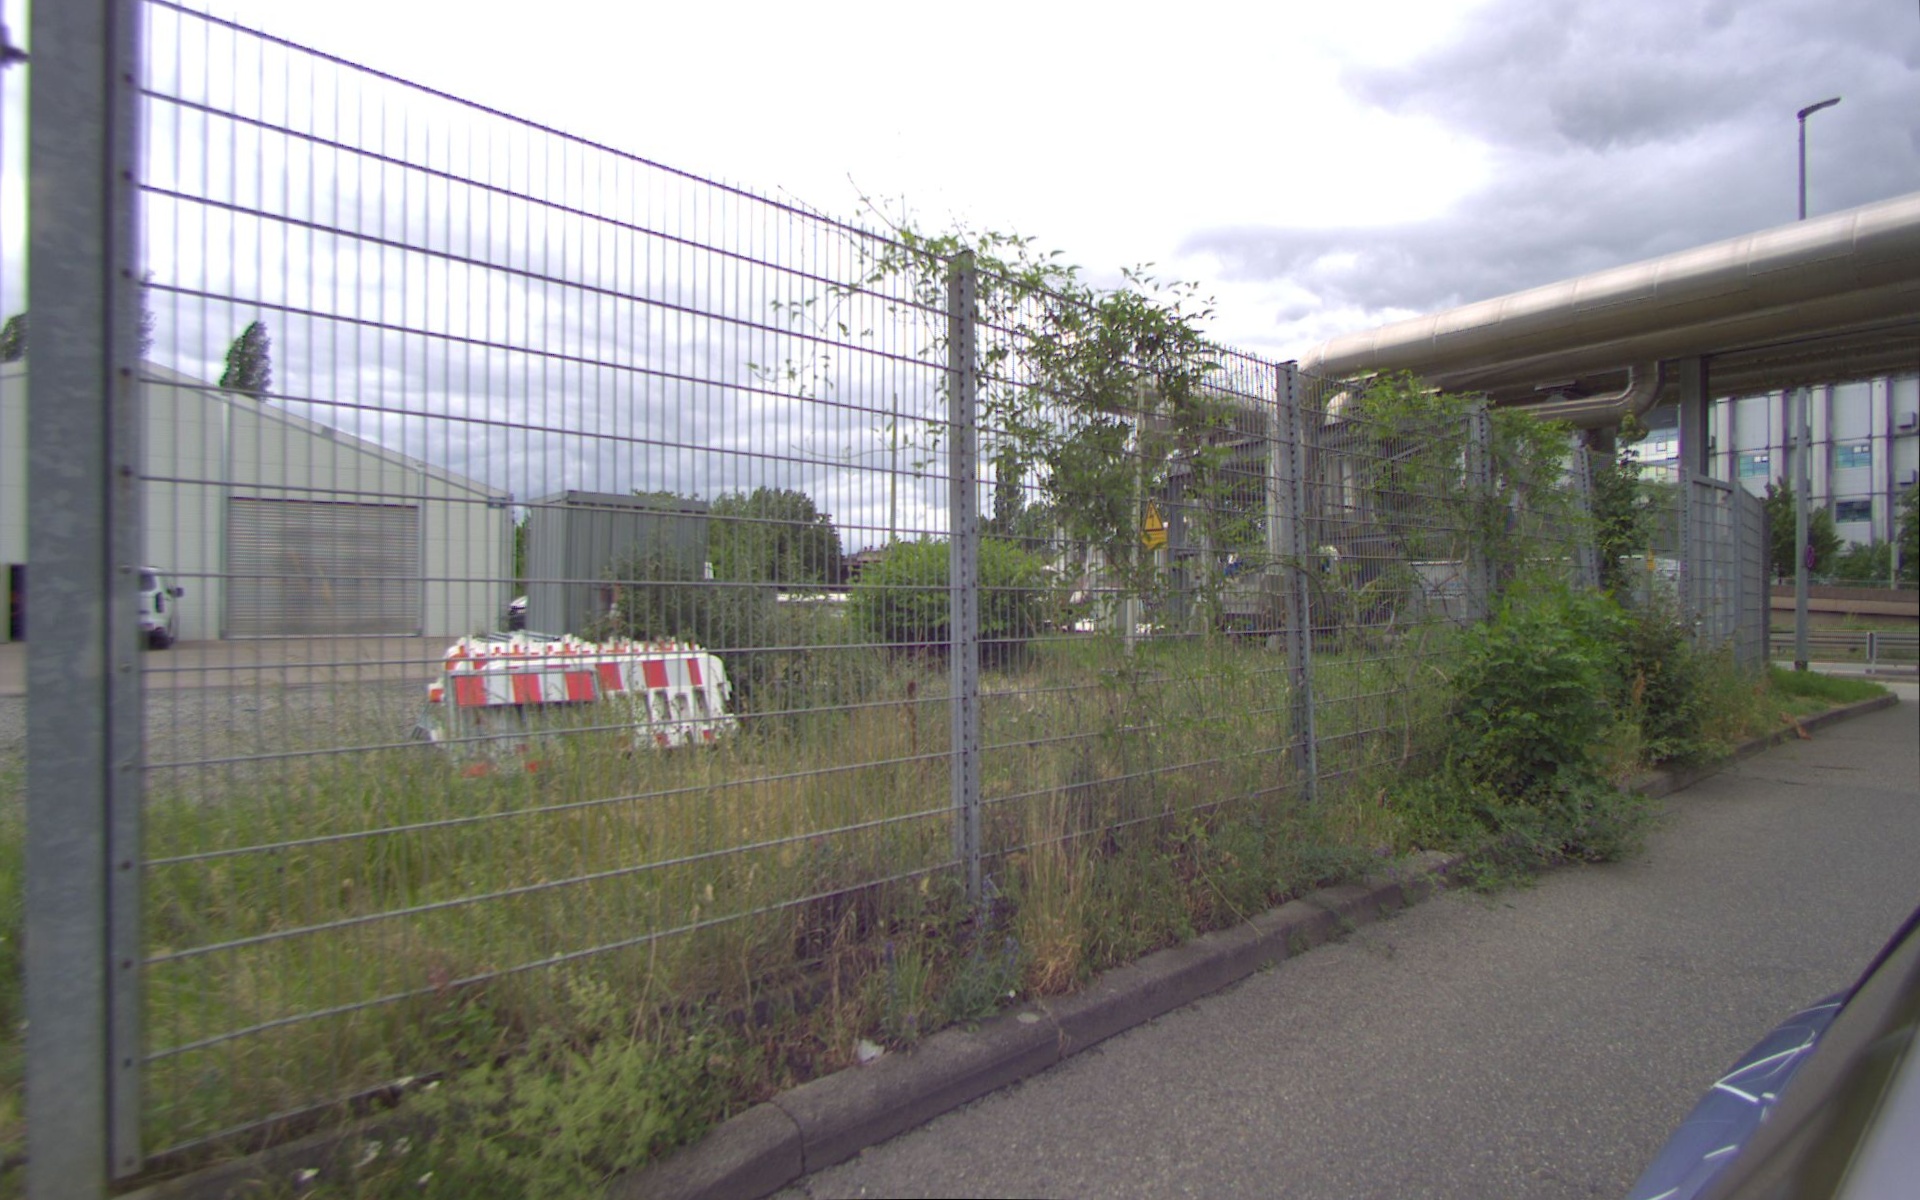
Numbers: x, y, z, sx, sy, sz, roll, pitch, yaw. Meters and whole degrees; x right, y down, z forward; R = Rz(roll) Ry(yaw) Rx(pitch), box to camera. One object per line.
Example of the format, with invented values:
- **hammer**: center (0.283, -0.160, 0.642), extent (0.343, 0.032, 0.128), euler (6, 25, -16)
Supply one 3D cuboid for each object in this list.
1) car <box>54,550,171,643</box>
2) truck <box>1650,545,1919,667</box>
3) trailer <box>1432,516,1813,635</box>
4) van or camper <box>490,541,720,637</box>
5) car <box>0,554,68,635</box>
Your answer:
- **car**: center (-20.403, -0.093, 24.530), extent (1.963, 2.039, 4.337), euler (0, 0, -38)
- **truck**: center (31.578, 0.156, 38.664), extent (3.113, 4.182, 8.121), euler (-3, 2, -43)
- **trailer**: center (27.476, -0.936, 43.066), extent (3.113, 4.378, 13.235), euler (-2, 1, -42)
- **van or camper**: center (-10.481, -0.284, 30.041), extent (6.005, 2.581, 2.577), euler (0, 0, -32)
- **car**: center (-29.735, -0.171, 31.789), extent (2.070, 2.405, 4.433), euler (0, 0, -35)
